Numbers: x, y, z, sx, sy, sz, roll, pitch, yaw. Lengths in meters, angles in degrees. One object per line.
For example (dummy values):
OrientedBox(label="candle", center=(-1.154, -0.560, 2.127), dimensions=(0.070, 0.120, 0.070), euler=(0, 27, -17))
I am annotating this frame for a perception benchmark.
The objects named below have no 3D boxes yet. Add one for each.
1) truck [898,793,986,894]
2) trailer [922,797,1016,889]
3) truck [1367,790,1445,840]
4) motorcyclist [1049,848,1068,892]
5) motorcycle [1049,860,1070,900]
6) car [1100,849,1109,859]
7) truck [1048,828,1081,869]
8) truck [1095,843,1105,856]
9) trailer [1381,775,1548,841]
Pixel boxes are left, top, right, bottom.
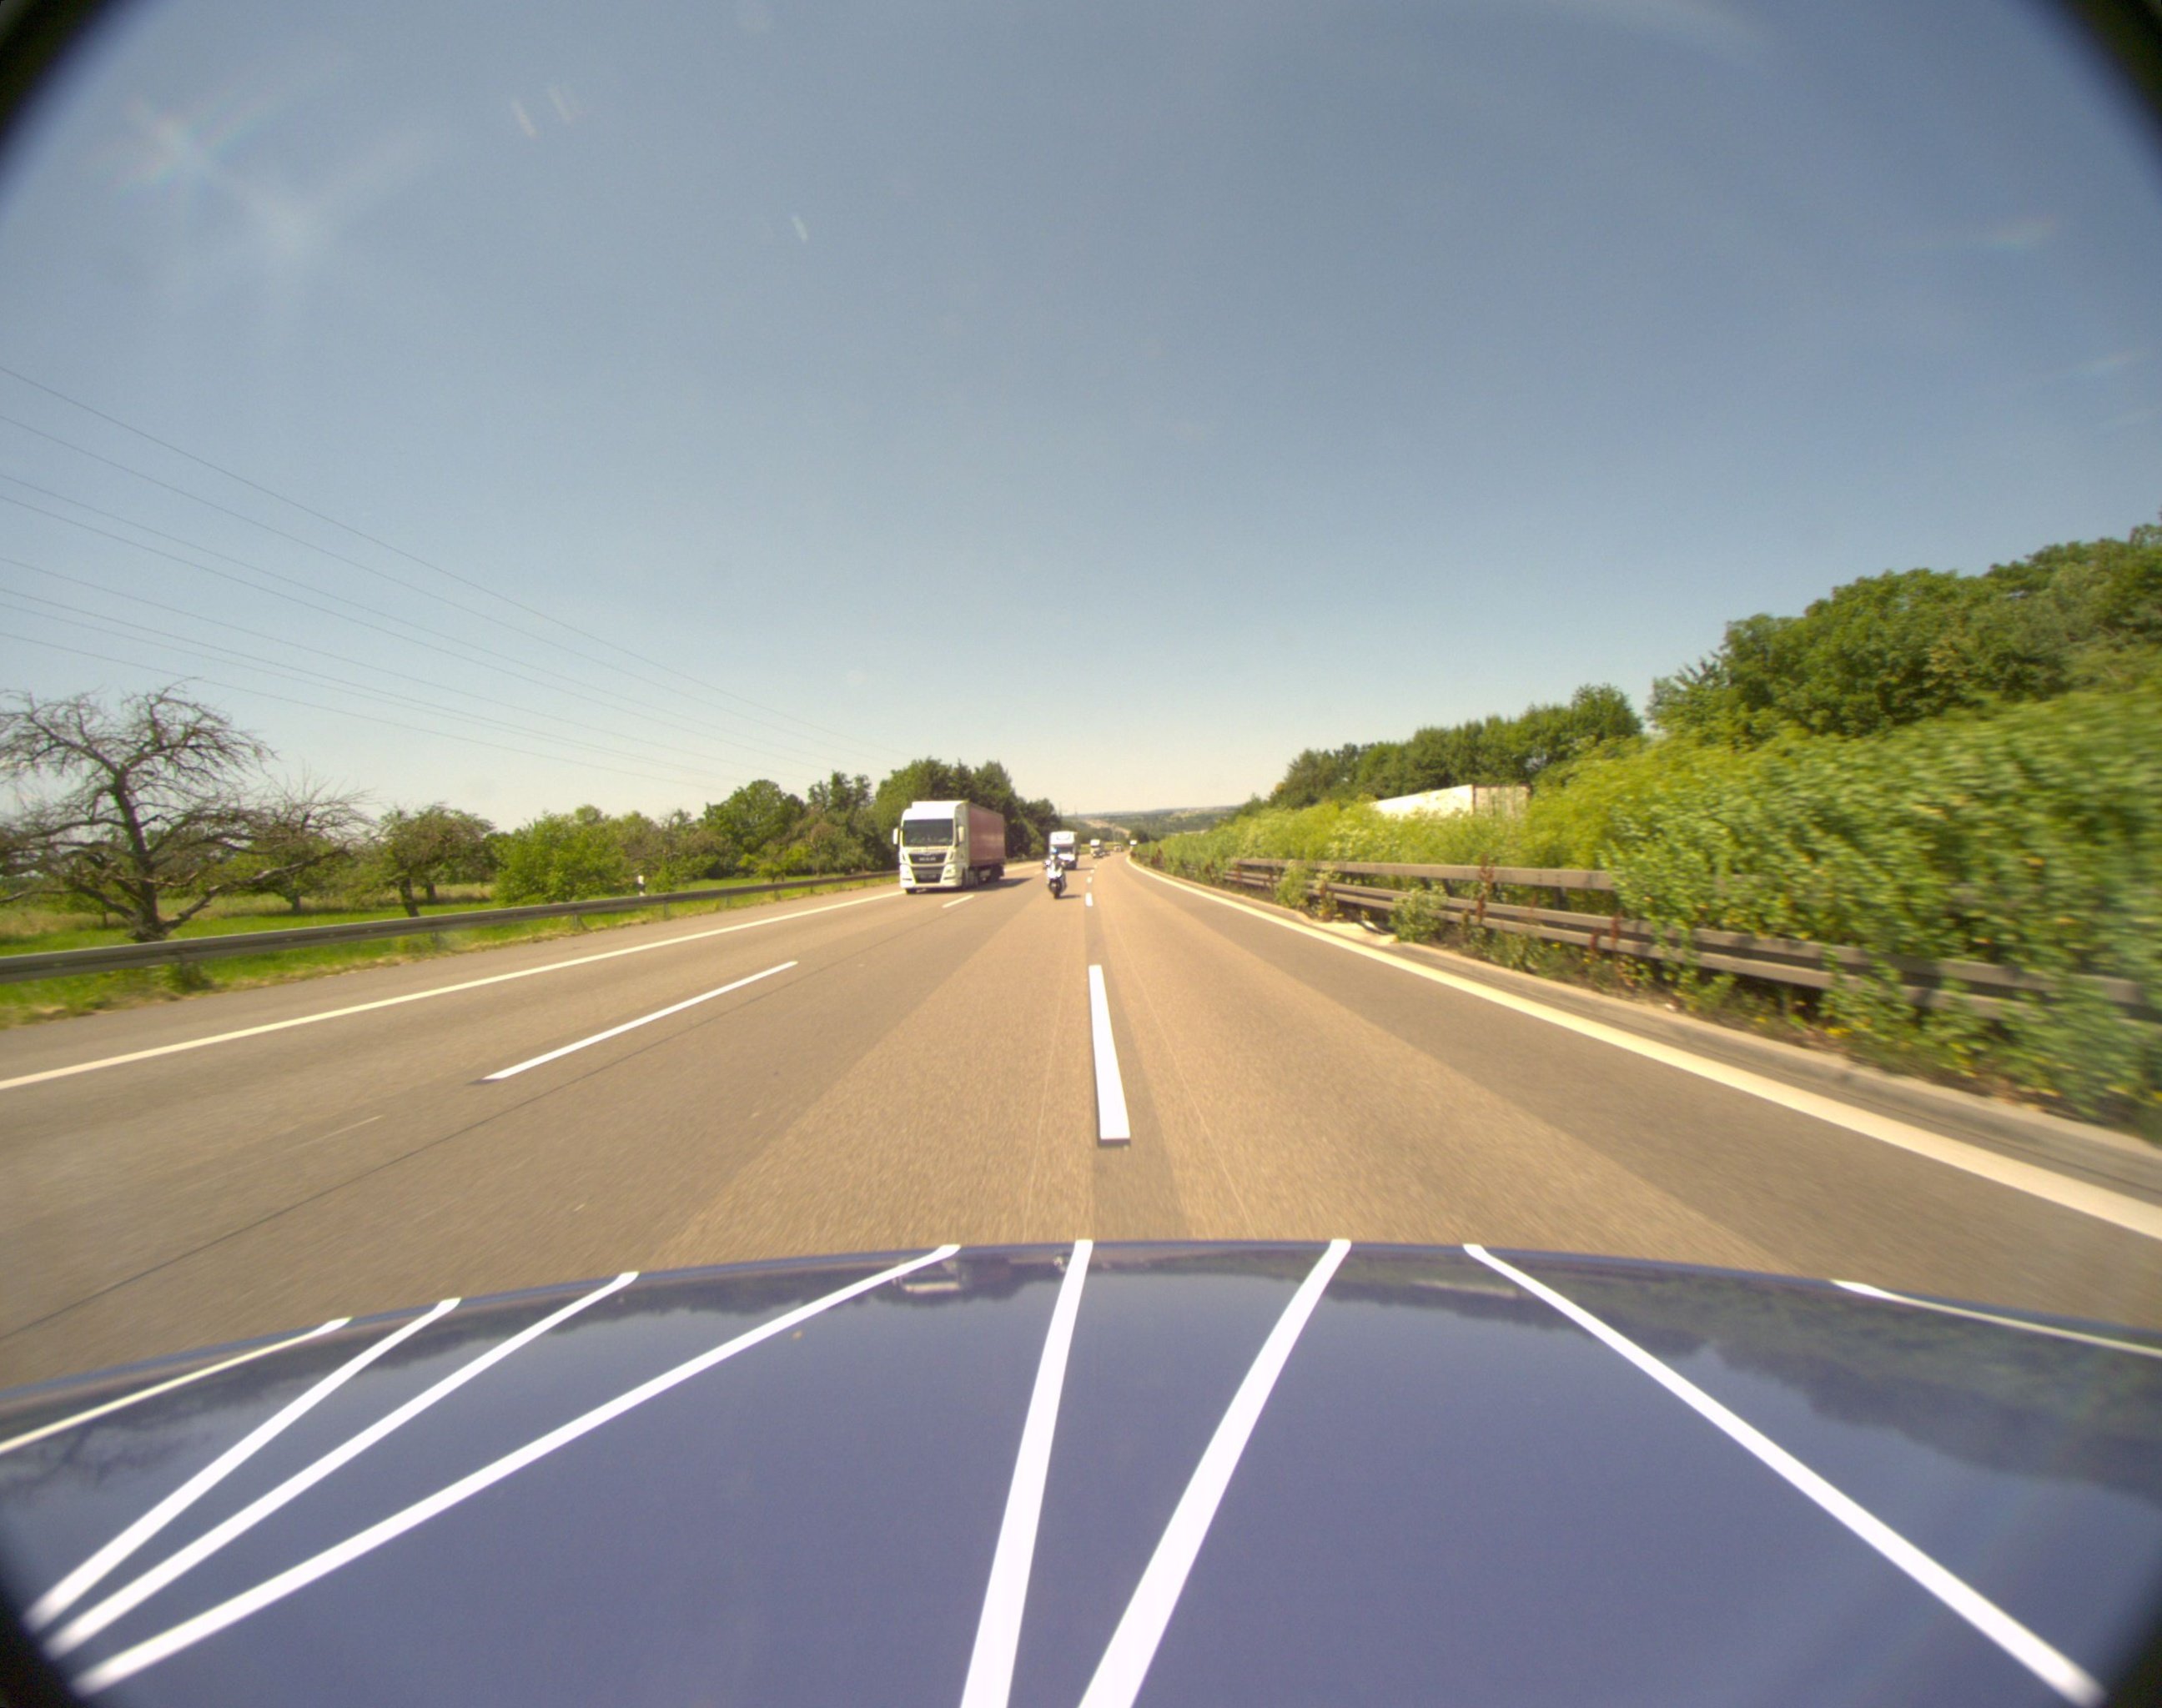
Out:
OrientedBox(label="truck", center=(-6.158, -0.479, 34.726), dimensions=(2.567, 4.130, 6.248), euler=(-2, 1, 1))
OrientedBox(label="trailer", center=(-5.891, -0.609, 42.632), dimensions=(2.607, 4.239, 13.033), euler=(-2, 1, 3))
OrientedBox(label="truck", center=(19.622, -2.284, 46.112), dimensions=(2.695, 2.732, 4.645), euler=(-2, 1, 1))
OrientedBox(label="motorcyclist", center=(-0.788, 0.558, 26.498), dimensions=(0.614, 1.499, 0.513), euler=(-2, 1, -2))
OrientedBox(label="motorcycle", center=(-0.767, 0.871, 26.416), dimensions=(0.631, 1.279, 2.312), euler=(-3, 1, -2))
OrientedBox(label="car", center=(4.530, -0.013, 145.200), dimensions=(1.704, 1.958, 4.000), euler=(-2, 1, 2))
OrientedBox(label="truck", center=(-1.382, -0.492, 66.330), dimensions=(2.513, 3.268, 8.106), euler=(-1, 1, 1))
OrientedBox(label="truck", center=(5.306, -1.333, 210.123), dimensions=(2.590, 3.444, 5.962), euler=(-2, 1, 1))
OrientedBox(label="trailer", center=(19.501, -2.171, 39.962), dimensions=(2.680, 2.785, 12.313), euler=(-2, 1, 1))
